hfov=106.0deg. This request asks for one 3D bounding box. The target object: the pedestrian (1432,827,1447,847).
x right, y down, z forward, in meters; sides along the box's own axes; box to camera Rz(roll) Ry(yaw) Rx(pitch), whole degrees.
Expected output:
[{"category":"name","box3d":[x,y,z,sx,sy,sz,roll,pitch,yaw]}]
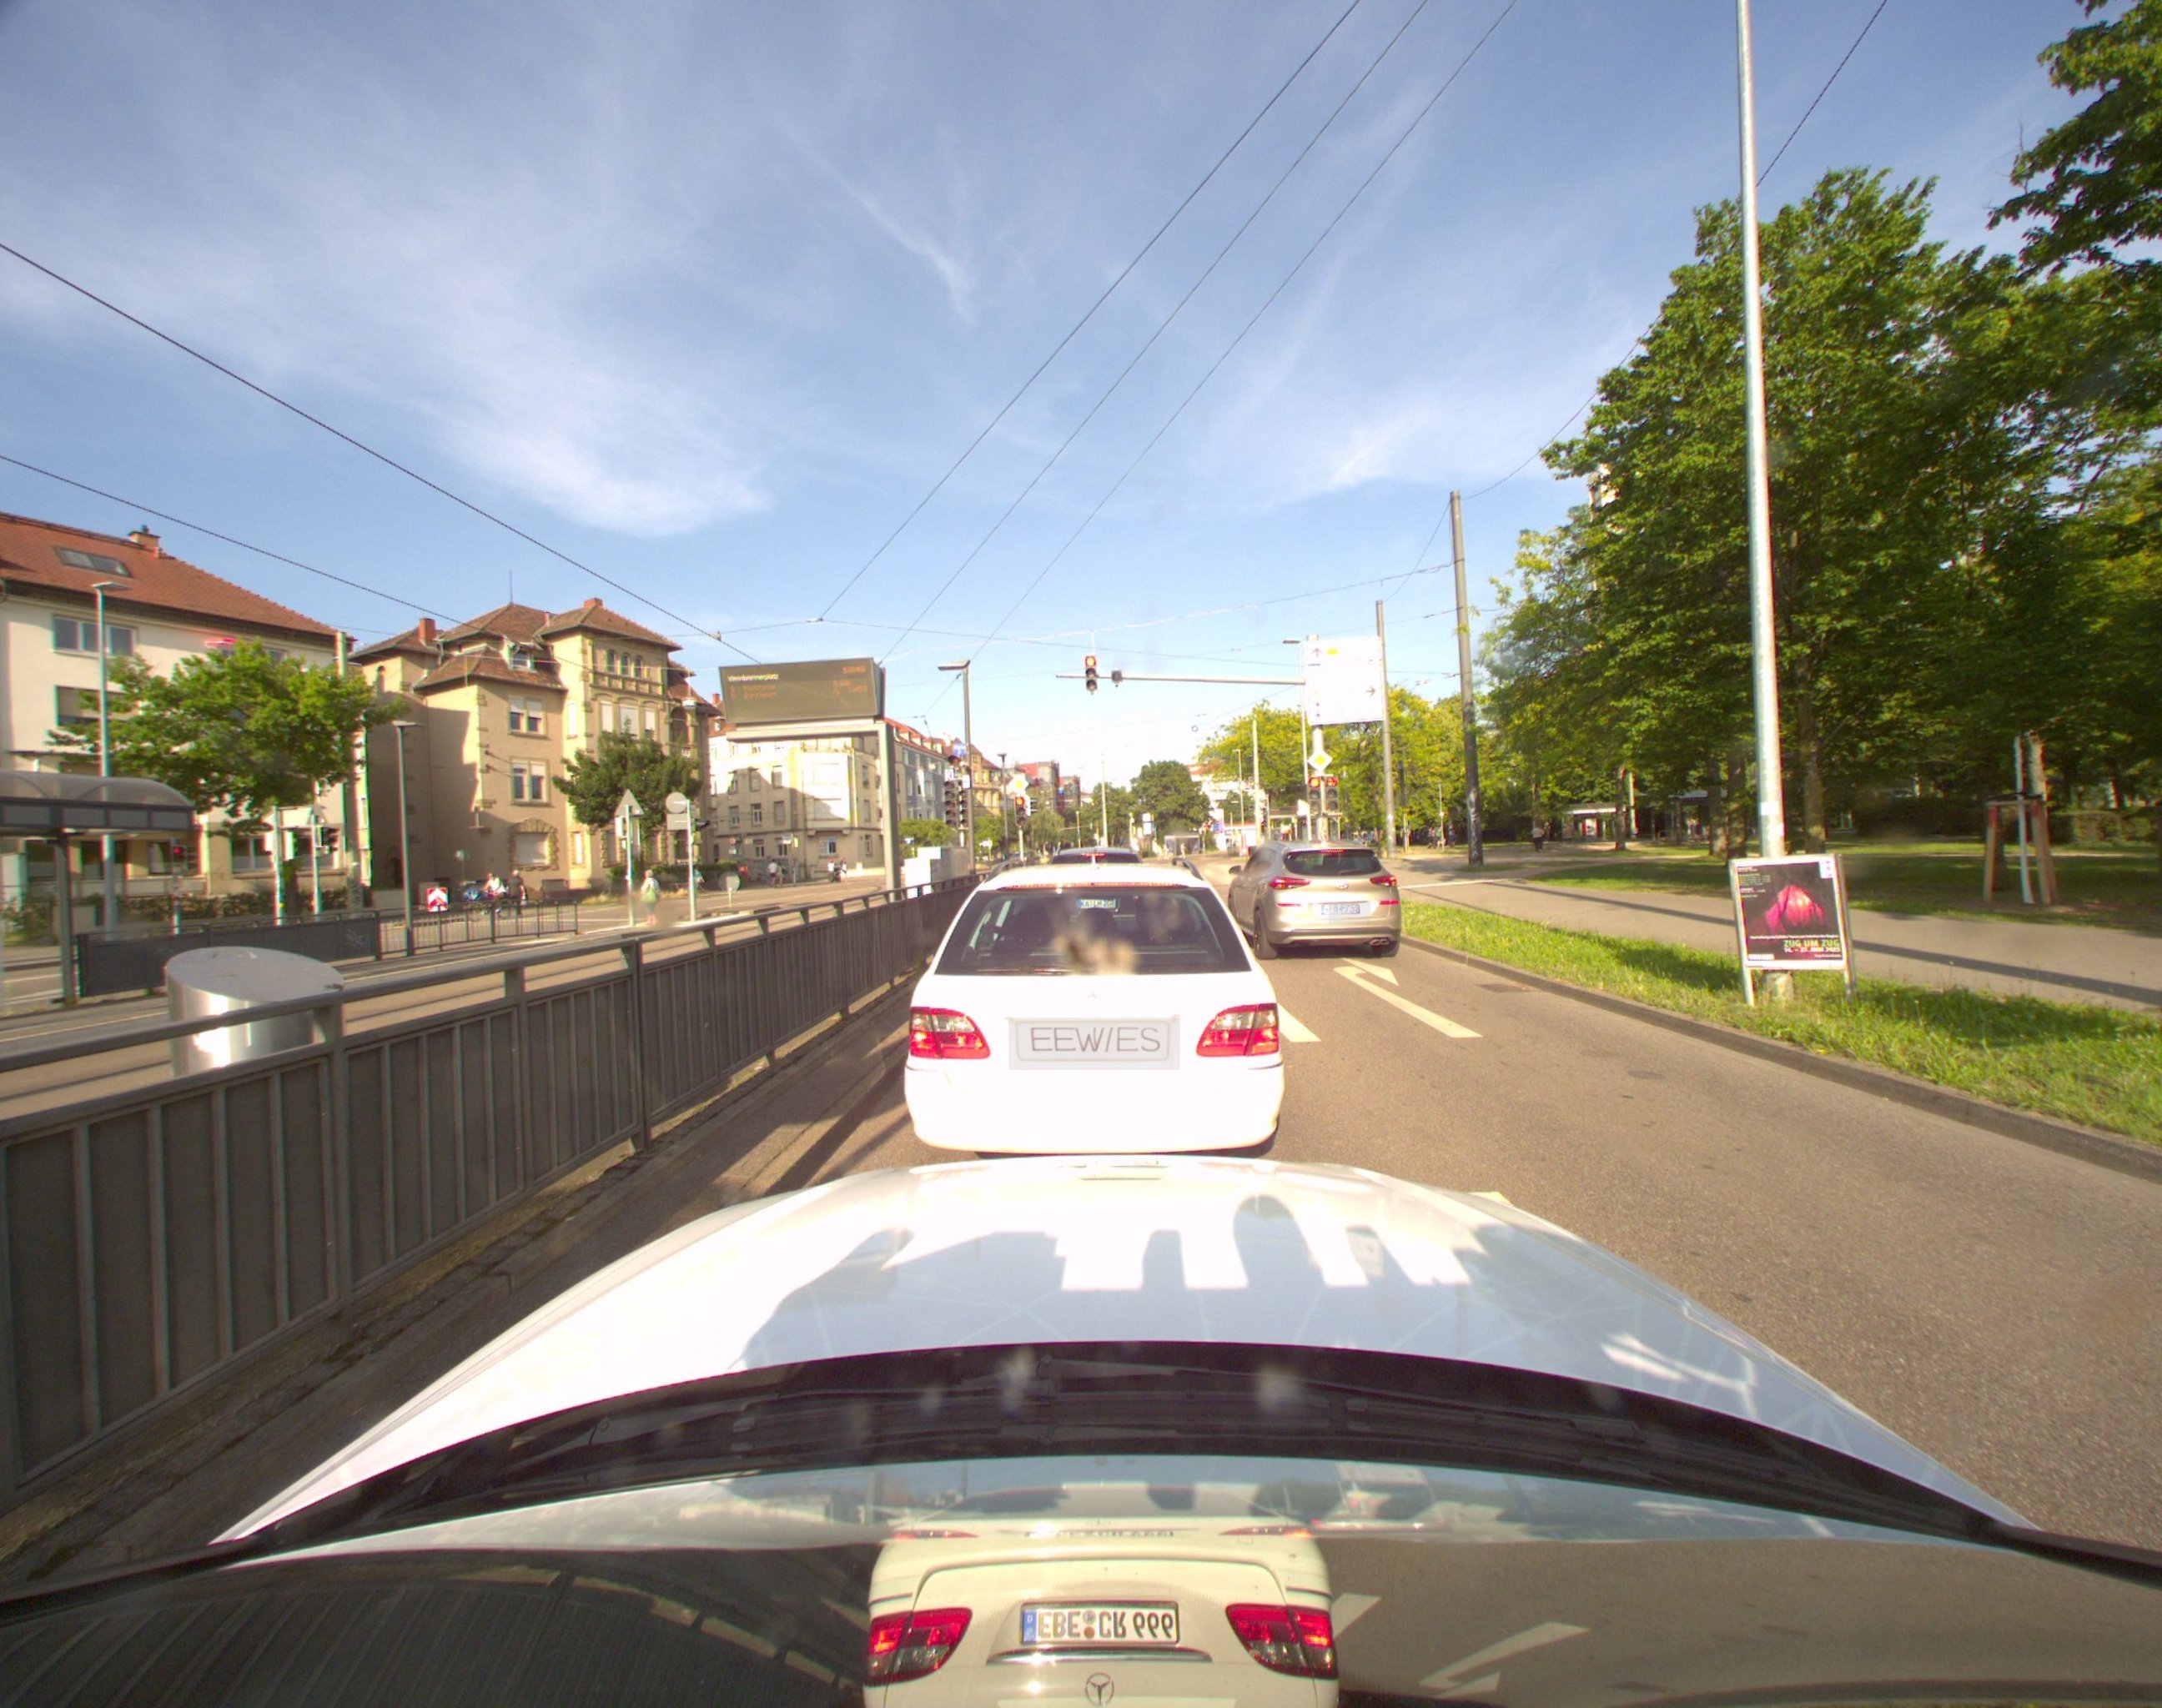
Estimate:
[{"category":"pedestrian","box3d":[28.109,-1.317,63.887,0.813,1.487,0.698,-3,0,-9]}]

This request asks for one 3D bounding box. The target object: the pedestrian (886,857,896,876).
[{"category":"pedestrian","box3d":[-16.813,1.088,72.008,0.617,1.660,0.587,-3,0,4]}]

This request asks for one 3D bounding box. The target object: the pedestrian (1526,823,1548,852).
[{"category":"pedestrian","box3d":[26.327,-0.959,47.053,0.758,1.636,0.800,-3,0,-38]}]

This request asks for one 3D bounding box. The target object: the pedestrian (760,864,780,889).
[{"category":"pedestrian","box3d":[-20.213,1.447,52.925,0.822,1.552,0.786,-3,0,23]}]

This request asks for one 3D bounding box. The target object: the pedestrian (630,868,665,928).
[{"category":"pedestrian","box3d":[-12.142,1.225,22.819,0.611,1.599,0.632,-3,0,-5]}]

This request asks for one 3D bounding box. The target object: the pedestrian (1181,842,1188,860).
[{"category":"pedestrian","box3d":[10.715,-0.307,84.425,0.638,1.857,0.554,-3,0,13]}]

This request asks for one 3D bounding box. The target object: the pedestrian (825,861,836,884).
[{"category":"pedestrian","box3d":[-18.154,1.310,59.126,0.506,1.626,0.609,-3,0,3]}]

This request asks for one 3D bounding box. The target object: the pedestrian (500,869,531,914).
[{"category":"pedestrian","box3d":[-21.404,1.423,30.812,0.798,1.645,0.748,-3,0,-42]}]

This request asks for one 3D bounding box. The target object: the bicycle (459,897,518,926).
[{"category":"bicycle","box3d":[-19.979,1.935,27.486,0.523,0.834,1.691,-3,0,10]}]

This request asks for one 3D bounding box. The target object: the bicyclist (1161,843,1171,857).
[{"category":"bicyclist","box3d":[9.110,-0.406,87.190,0.855,1.482,0.792,-3,0,11]}]

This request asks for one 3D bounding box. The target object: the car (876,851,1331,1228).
[{"category":"car","box3d":[0.134,0.736,5.078,1.789,1.470,3.649,-1,0,1]}]

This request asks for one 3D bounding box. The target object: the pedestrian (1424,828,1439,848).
[{"category":"pedestrian","box3d":[27.261,-1.235,63.298,0.820,1.487,0.692,-3,0,-40]}]

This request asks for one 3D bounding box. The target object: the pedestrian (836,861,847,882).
[{"category":"pedestrian","box3d":[-17.396,1.245,59.099,0.434,1.500,0.551,-3,0,16]}]

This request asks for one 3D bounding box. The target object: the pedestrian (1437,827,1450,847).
[{"category":"pedestrian","box3d":[27.774,-1.296,62.382,0.805,1.487,0.705,-3,0,26]}]

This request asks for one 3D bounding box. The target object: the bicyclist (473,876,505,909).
[{"category":"bicyclist","box3d":[-20.006,1.290,27.520,0.510,1.044,0.681,-3,0,9]}]

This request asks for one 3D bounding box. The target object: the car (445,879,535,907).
[{"category":"car","box3d":[-29.448,1.909,40.568,4.066,1.310,1.774,-1,-1,24]}]

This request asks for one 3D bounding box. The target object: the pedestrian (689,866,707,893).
[{"category":"pedestrian","box3d":[-22.631,1.529,48.096,0.626,1.541,0.711,-3,0,1]}]

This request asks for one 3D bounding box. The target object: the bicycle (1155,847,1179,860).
[{"category":"bicycle","box3d":[9.169,-0.040,87.162,2.467,1.213,0.809,-3,0,9]}]

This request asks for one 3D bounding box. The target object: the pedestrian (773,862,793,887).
[{"category":"pedestrian","box3d":[-19.327,1.342,52.823,0.822,1.552,0.786,-3,0,23]}]

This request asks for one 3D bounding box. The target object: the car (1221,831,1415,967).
[{"category":"car","box3d":[3.334,0.568,12.197,1.878,1.651,3.649,-3,0,2]}]

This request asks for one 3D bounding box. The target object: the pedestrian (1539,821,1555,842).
[{"category":"pedestrian","box3d":[36.707,-1.783,64.162,0.831,1.636,0.804,-3,0,8]}]

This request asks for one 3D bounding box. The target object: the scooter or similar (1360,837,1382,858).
[{"category":"scooter or similar","box3d":[16.123,-0.345,45.319,0.421,1.117,1.322,-3,0,-18]}]

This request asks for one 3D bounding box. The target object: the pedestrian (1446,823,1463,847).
[{"category":"pedestrian","box3d":[29.124,-1.470,63.507,0.797,1.785,0.838,-3,0,-2]}]

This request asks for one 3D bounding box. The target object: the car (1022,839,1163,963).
[{"category":"car","box3d":[0.214,0.625,12.706,1.878,1.651,3.649,0,0,2]}]

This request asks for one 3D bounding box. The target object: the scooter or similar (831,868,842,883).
[{"category":"scooter or similar","box3d":[-18.009,1.558,60.015,0.541,1.079,0.683,-1,-1,1]}]
